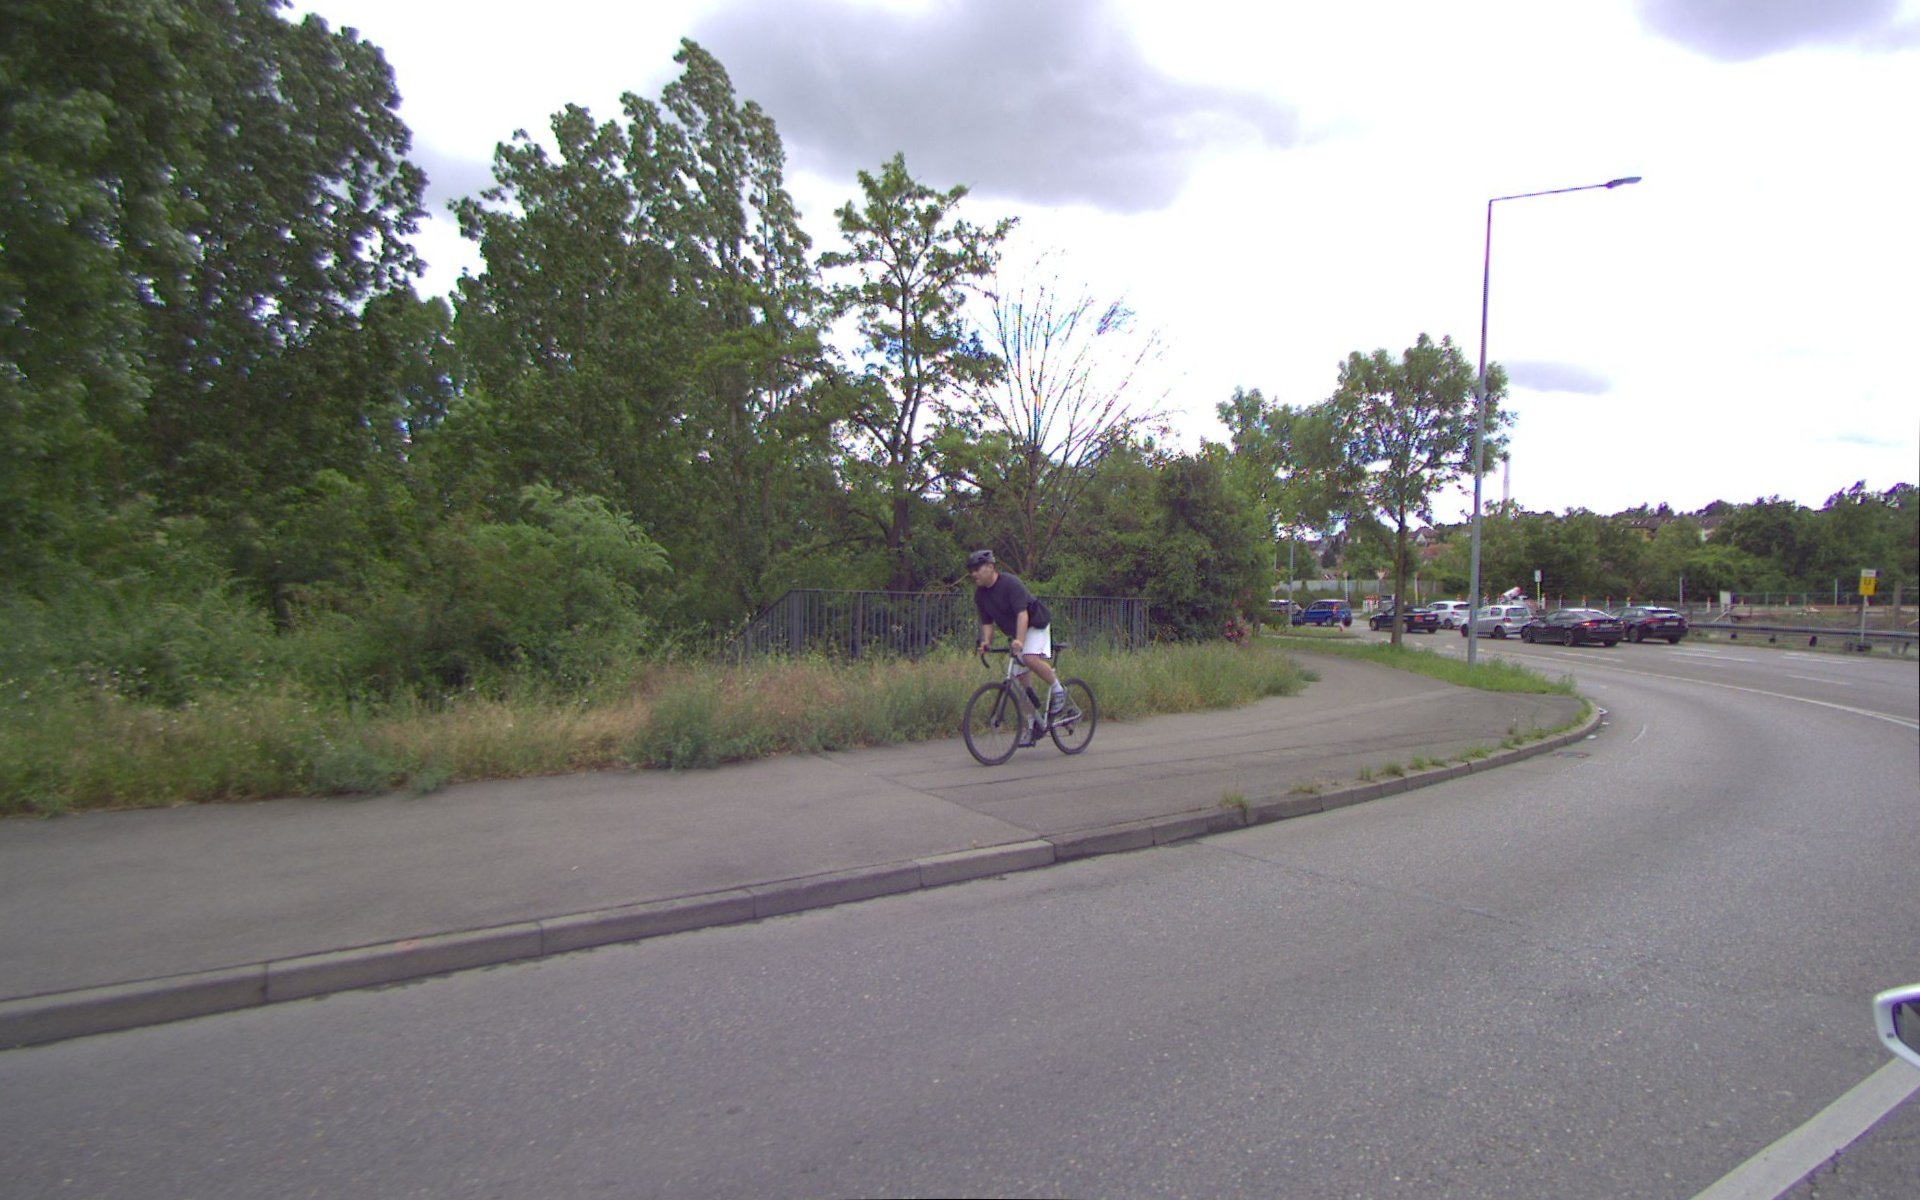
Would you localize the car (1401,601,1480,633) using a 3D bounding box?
[{"bbox_3d":[26.596,0.906,55.716,1.690,1.697,3.985,1,0,-18],"label":"car"}]

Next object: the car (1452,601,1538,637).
[{"bbox_3d":[24.782,0.869,46.661,1.643,1.489,3.623,-3,1,-8],"label":"car"}]

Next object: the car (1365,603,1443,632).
[{"bbox_3d":[23.123,0.879,52.434,1.541,1.386,4.073,-3,1,-13],"label":"car"}]

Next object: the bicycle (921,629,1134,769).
[{"bbox_3d":[0.636,0.829,9.021,1.865,1.086,0.730,1,2,-38],"label":"bicycle"}]

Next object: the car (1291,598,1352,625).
[{"bbox_3d":[21.366,0.666,59.483,1.526,1.528,3.360,-1,1,-24],"label":"car"}]

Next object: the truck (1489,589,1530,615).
[{"bbox_3d":[46.886,0.157,85.626,1.973,2.040,3.976,4,1,44],"label":"truck"}]

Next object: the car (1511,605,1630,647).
[{"bbox_3d":[24.900,0.998,41.227,1.842,1.496,4.963,-1,1,0],"label":"car"}]

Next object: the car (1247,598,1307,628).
[{"bbox_3d":[18.384,0.732,58.415,1.633,1.528,3.759,-3,2,-14],"label":"car"}]

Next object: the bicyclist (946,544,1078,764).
[{"bbox_3d":[0.462,0.451,8.892,0.893,1.833,0.622,2,2,-39],"label":"bicyclist"}]

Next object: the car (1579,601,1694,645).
[{"bbox_3d":[28.231,0.911,42.104,1.842,1.658,4.202,-1,1,-3],"label":"car"}]

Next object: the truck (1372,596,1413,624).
[{"bbox_3d":[34.261,0.787,79.539,3.202,2.040,1.719,2,1,-41],"label":"truck"}]
